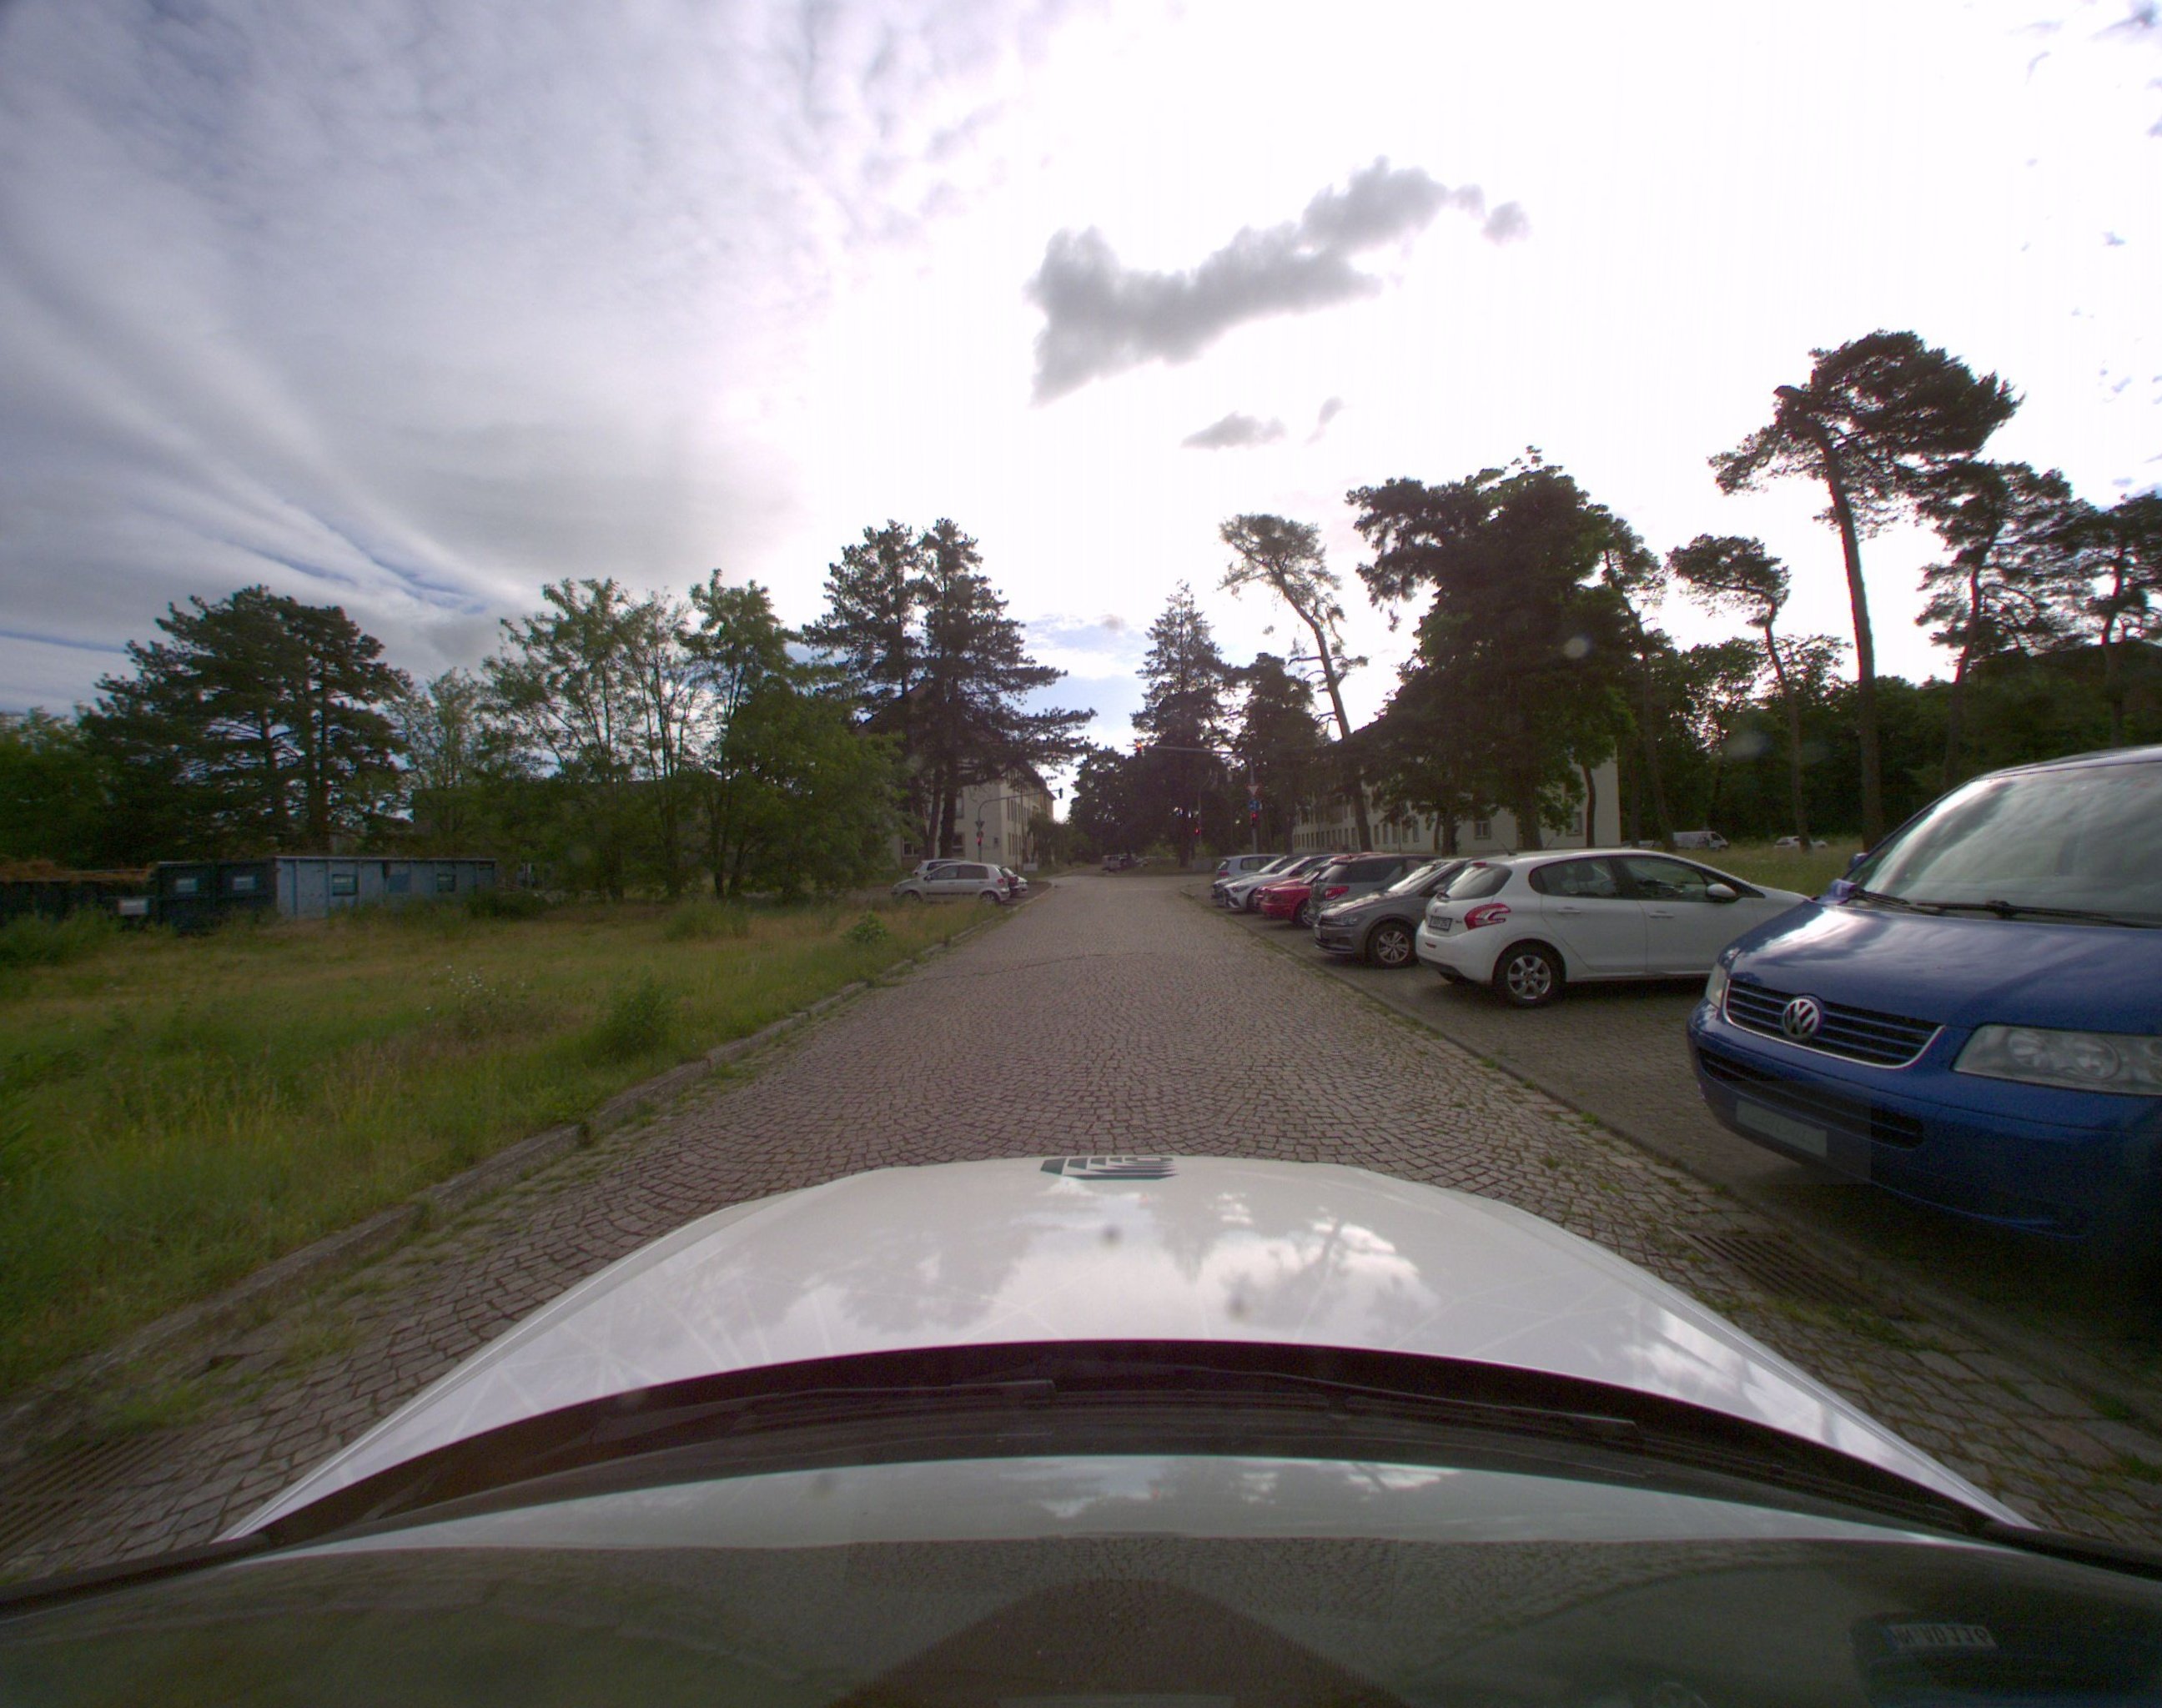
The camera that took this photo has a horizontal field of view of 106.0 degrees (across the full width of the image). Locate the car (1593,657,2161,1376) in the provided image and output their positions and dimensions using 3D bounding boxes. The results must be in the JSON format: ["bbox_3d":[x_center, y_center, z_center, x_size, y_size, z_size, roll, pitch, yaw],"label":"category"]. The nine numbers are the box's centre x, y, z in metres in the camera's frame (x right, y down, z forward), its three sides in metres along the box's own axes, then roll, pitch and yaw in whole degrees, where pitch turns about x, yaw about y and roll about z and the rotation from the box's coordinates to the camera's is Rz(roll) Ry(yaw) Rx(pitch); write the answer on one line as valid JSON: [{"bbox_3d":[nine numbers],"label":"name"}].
[{"bbox_3d":[5.108,0.343,3.291,4.780,2.004,1.966,-3,0,0],"label":"car"}]

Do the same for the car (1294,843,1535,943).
[{"bbox_3d":[5.744,0.646,14.362,3.492,1.487,1.744,-3,0,1],"label":"car"}]

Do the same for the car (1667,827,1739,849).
[{"bbox_3d":[60.053,-1.538,78.714,5.279,2.019,2.107,-1,-1,2],"label":"car"}]

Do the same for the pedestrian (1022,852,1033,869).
[{"bbox_3d":[-6.035,0.720,92.013,1.070,1.959,1.122,-1,-1,2],"label":"pedestrian"}]

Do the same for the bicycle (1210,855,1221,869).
[{"bbox_3d":[10.538,0.642,63.774,0.660,1.051,1.889,-1,0,3],"label":"bicycle"}]

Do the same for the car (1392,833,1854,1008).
[{"bbox_3d":[5.456,0.631,8.593,3.639,1.479,1.766,-3,0,1],"label":"car"}]

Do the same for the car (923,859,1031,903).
[{"bbox_3d":[-4.293,1.103,34.217,4.290,1.554,1.809,-3,0,-4],"label":"car"}]

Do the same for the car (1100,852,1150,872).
[{"bbox_3d":[5.008,0.904,94.017,5.377,2.101,2.171,-2,0,-11],"label":"car"}]

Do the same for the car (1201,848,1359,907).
[{"bbox_3d":[5.922,0.679,24.463,4.227,1.479,1.704,-3,0,-9],"label":"car"}]

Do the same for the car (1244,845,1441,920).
[{"bbox_3d":[6.113,0.648,19.325,4.091,1.476,1.684,-3,0,0],"label":"car"}]

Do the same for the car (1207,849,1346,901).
[{"bbox_3d":[6.425,0.676,27.005,4.126,1.463,1.631,-3,0,-4],"label":"car"}]

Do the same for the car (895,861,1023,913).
[{"bbox_3d":[-4.250,1.133,28.952,4.290,1.554,1.809,-3,0,-4],"label":"car"}]

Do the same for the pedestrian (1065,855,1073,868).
[{"bbox_3d":[-1.830,1.073,123.805,1.236,1.959,1.120,-1,-1,-3],"label":"pedestrian"}]

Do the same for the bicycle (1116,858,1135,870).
[{"bbox_3d":[4.501,1.052,82.712,1.877,1.171,0.664,-1,-1,-4],"label":"bicycle"}]

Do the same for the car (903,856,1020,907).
[{"bbox_3d":[-4.578,1.039,31.769,4.289,1.732,1.651,-3,0,-4],"label":"car"}]

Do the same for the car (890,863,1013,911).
[{"bbox_3d":[-4.128,1.042,26.351,3.709,1.481,1.672,0,0,-1],"label":"car"}]

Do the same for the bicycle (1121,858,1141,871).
[{"bbox_3d":[4.869,1.020,79.203,1.877,1.171,0.664,-1,-1,-4],"label":"bicycle"}]

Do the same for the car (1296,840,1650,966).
[{"bbox_3d":[5.331,0.641,11.503,4.114,1.447,1.767,-3,0,2],"label":"car"}]

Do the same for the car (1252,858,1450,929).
[{"bbox_3d":[5.528,0.787,16.995,3.572,1.223,1.630,-3,0,3],"label":"car"}]

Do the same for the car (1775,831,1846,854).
[{"bbox_3d":[60.815,-0.935,67.948,4.115,1.804,1.902,-1,-1,4],"label":"car"}]

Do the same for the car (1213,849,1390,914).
[{"bbox_3d":[5.797,0.701,21.697,4.179,1.437,1.752,-3,0,-6],"label":"car"}]

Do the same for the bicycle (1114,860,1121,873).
[{"bbox_3d":[3.336,1.146,74.605,0.660,1.171,1.889,-1,-1,3],"label":"bicycle"}]
